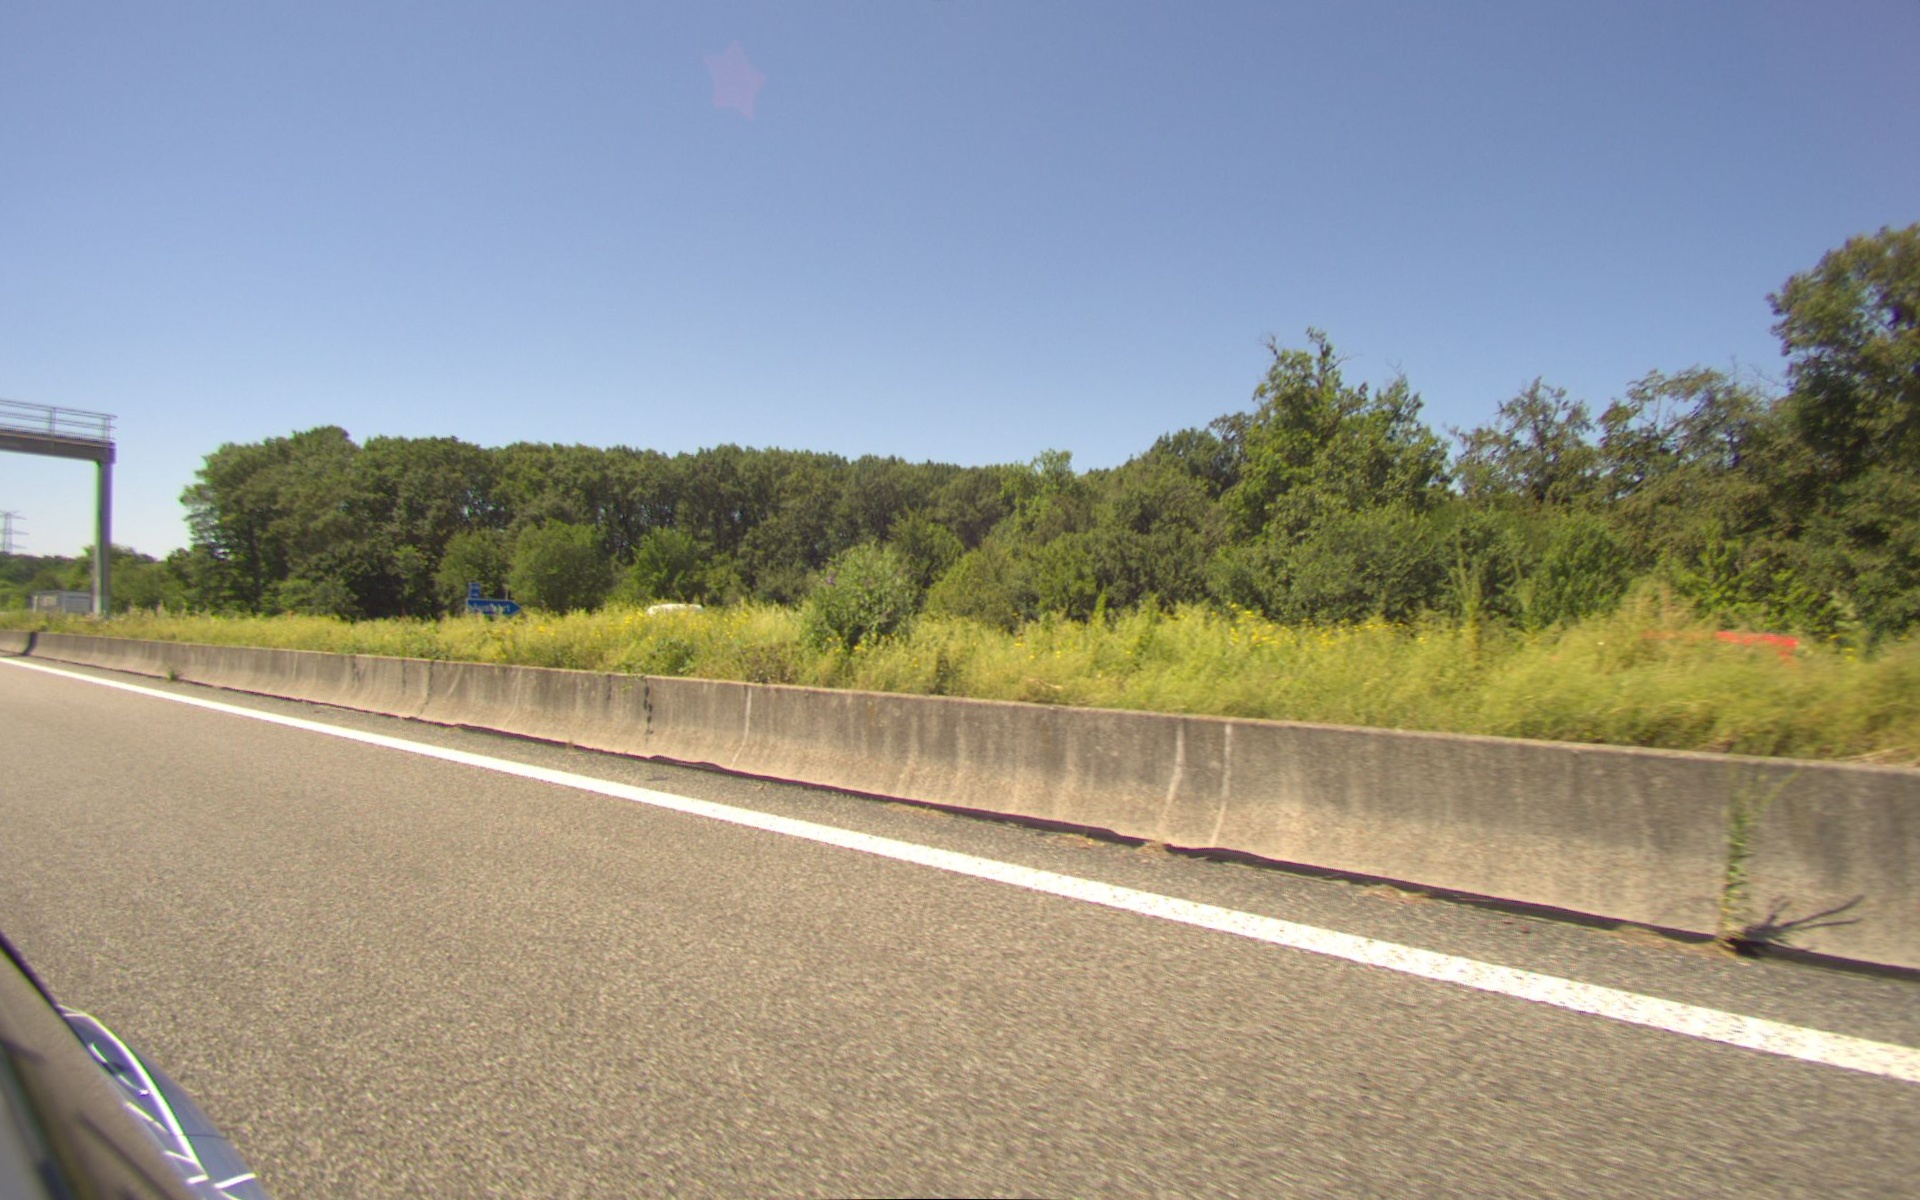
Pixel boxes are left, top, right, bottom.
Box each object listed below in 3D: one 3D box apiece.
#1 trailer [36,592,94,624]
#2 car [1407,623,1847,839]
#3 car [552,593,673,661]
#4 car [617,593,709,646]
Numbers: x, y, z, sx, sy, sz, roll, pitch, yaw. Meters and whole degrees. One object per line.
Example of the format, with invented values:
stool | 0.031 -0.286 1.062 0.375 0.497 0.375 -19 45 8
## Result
trailer | -94.805 0.861 107.118 11.115 3.210 2.939 -1 0 40
car | 7.588 1.294 11.732 3.998 2.029 1.973 -1 -1 41
car | -11.194 0.843 32.528 3.998 2.029 1.973 -1 -1 41
car | -13.881 0.886 47.077 1.969 2.334 5.550 0 -1 -42
